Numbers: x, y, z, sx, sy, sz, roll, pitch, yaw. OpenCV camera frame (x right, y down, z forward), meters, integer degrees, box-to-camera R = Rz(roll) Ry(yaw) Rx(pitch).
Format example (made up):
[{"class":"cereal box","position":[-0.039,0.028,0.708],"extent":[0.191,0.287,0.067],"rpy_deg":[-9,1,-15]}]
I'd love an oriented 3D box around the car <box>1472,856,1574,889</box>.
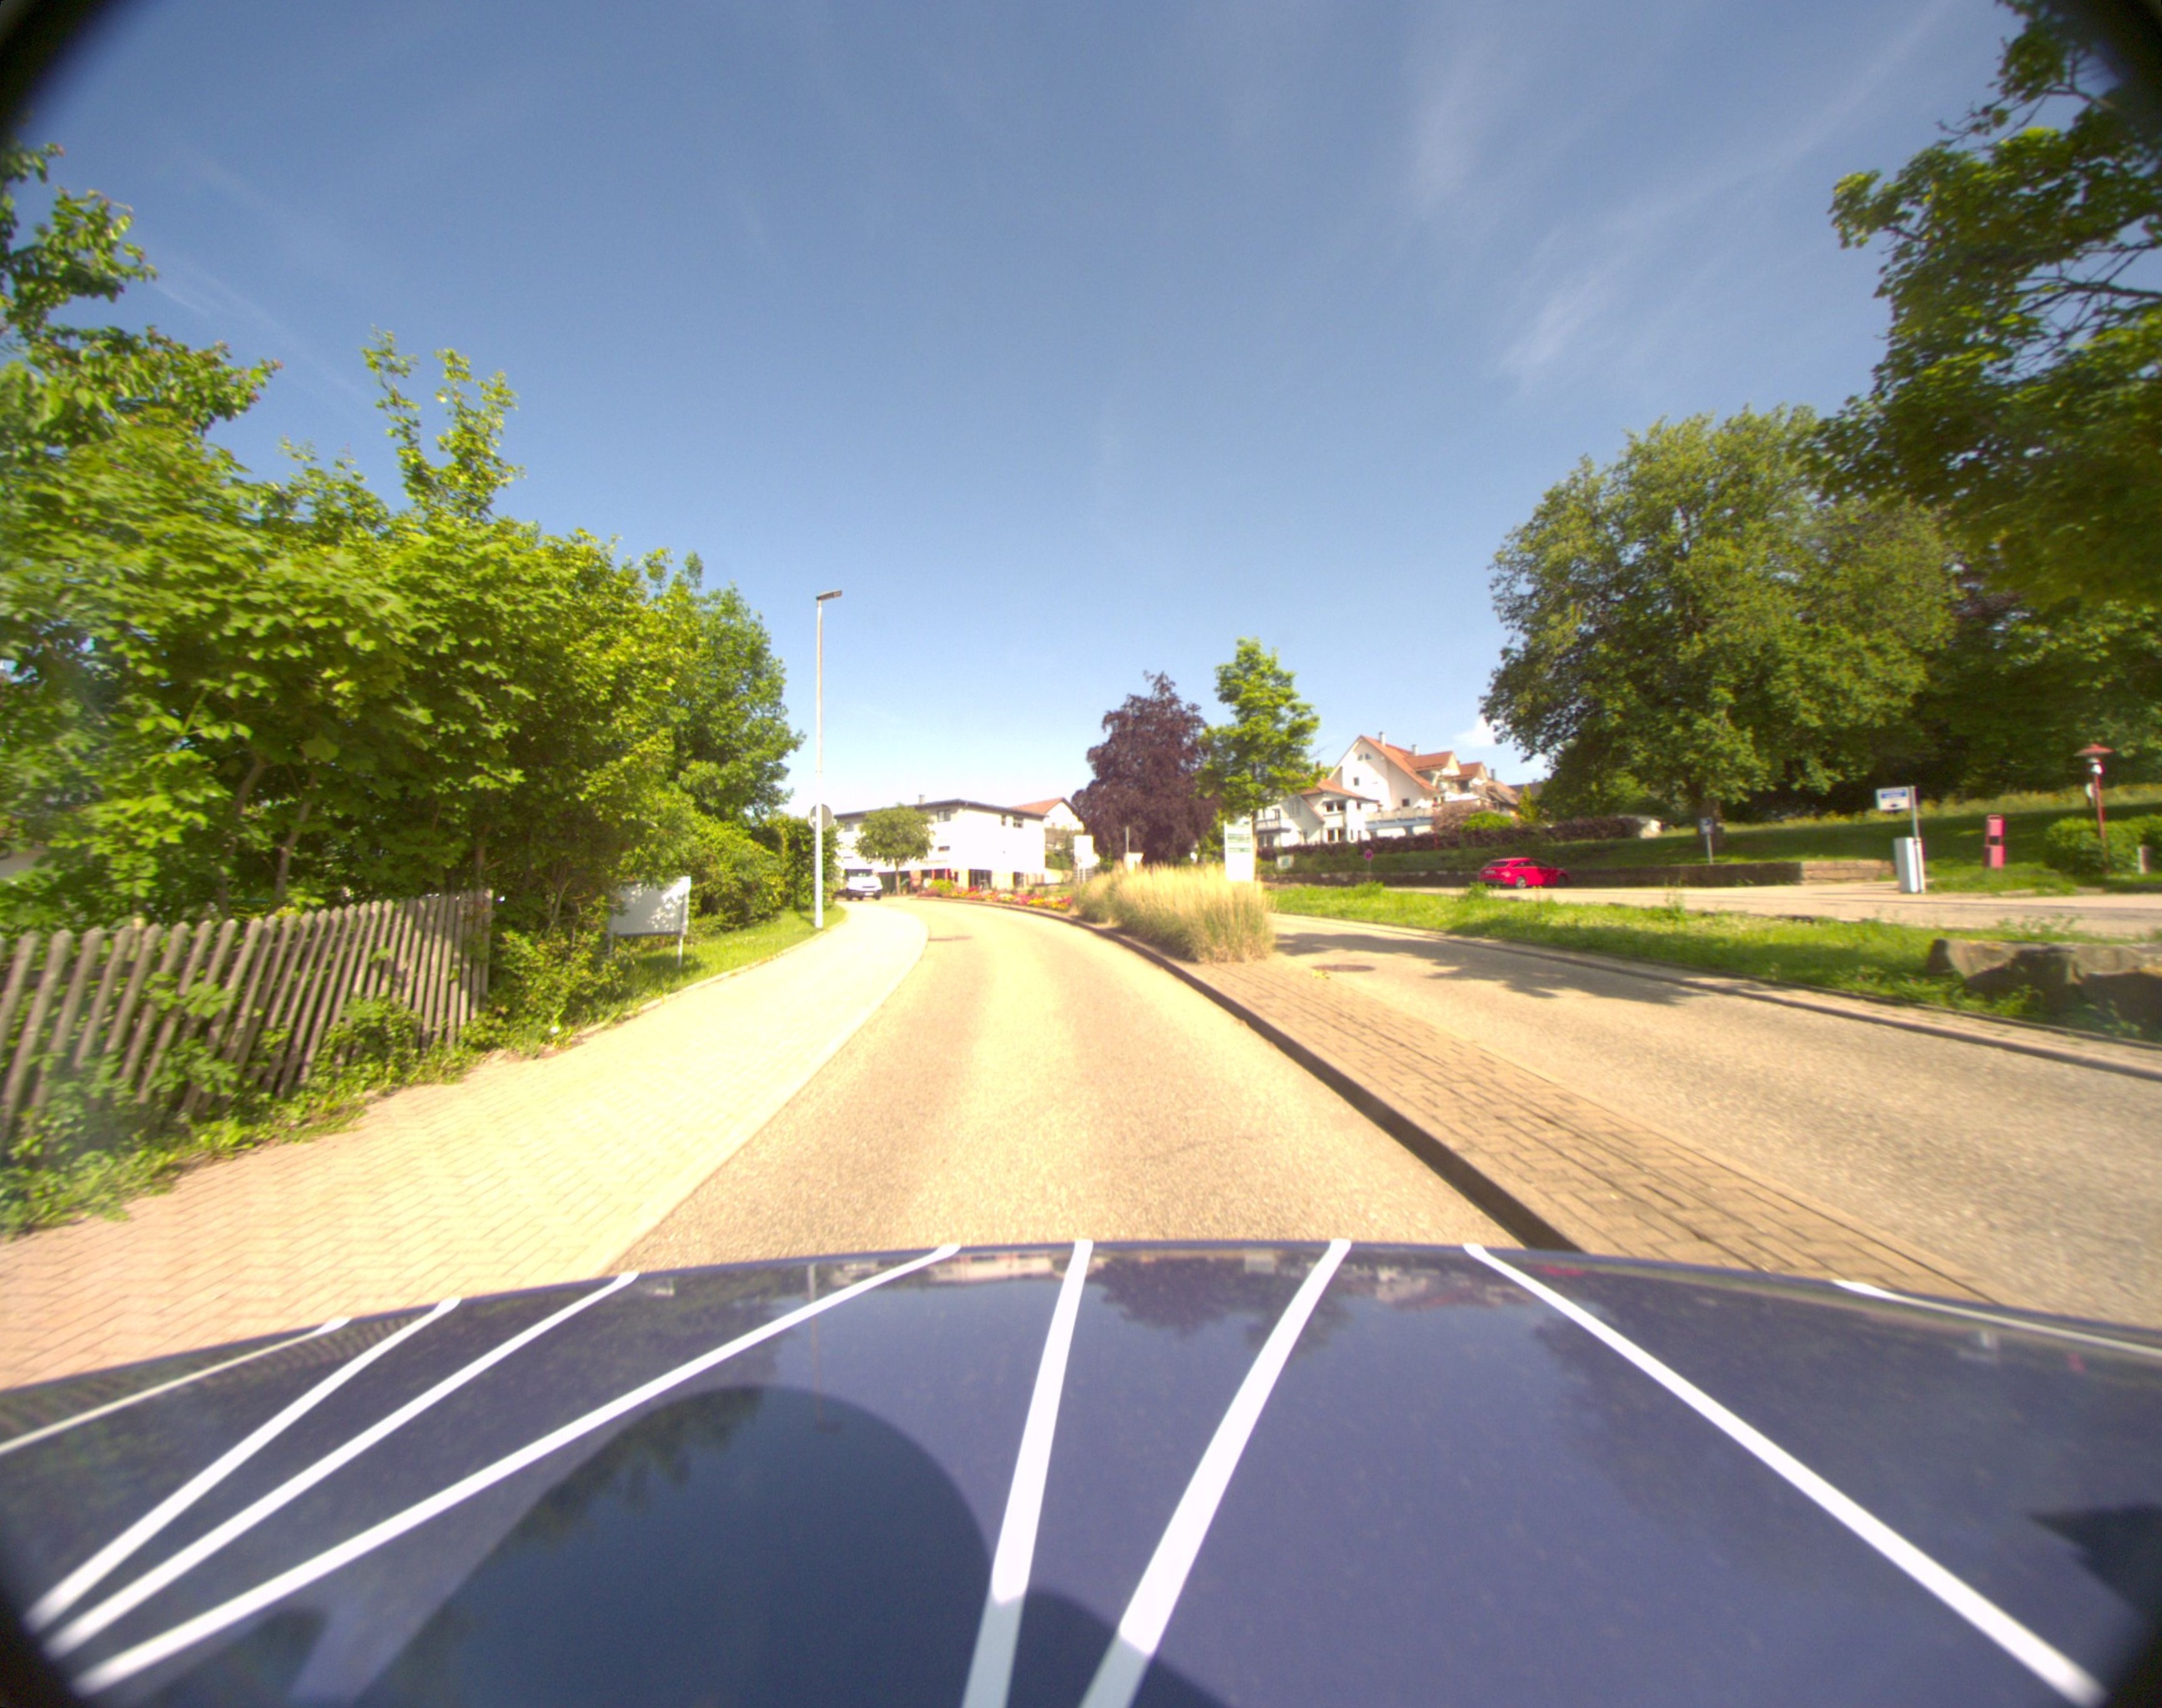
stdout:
[{"class":"car","position":[20.712,0.875,35.625],"extent":[4.242,1.390,1.821],"rpy_deg":[-1,-2,-21]}]

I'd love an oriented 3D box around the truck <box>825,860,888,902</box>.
[{"class":"truck","position":[-14.527,1.801,48.869],"extent":[2.003,2.327,6.482],"rpy_deg":[-4,-2,-32]}]
